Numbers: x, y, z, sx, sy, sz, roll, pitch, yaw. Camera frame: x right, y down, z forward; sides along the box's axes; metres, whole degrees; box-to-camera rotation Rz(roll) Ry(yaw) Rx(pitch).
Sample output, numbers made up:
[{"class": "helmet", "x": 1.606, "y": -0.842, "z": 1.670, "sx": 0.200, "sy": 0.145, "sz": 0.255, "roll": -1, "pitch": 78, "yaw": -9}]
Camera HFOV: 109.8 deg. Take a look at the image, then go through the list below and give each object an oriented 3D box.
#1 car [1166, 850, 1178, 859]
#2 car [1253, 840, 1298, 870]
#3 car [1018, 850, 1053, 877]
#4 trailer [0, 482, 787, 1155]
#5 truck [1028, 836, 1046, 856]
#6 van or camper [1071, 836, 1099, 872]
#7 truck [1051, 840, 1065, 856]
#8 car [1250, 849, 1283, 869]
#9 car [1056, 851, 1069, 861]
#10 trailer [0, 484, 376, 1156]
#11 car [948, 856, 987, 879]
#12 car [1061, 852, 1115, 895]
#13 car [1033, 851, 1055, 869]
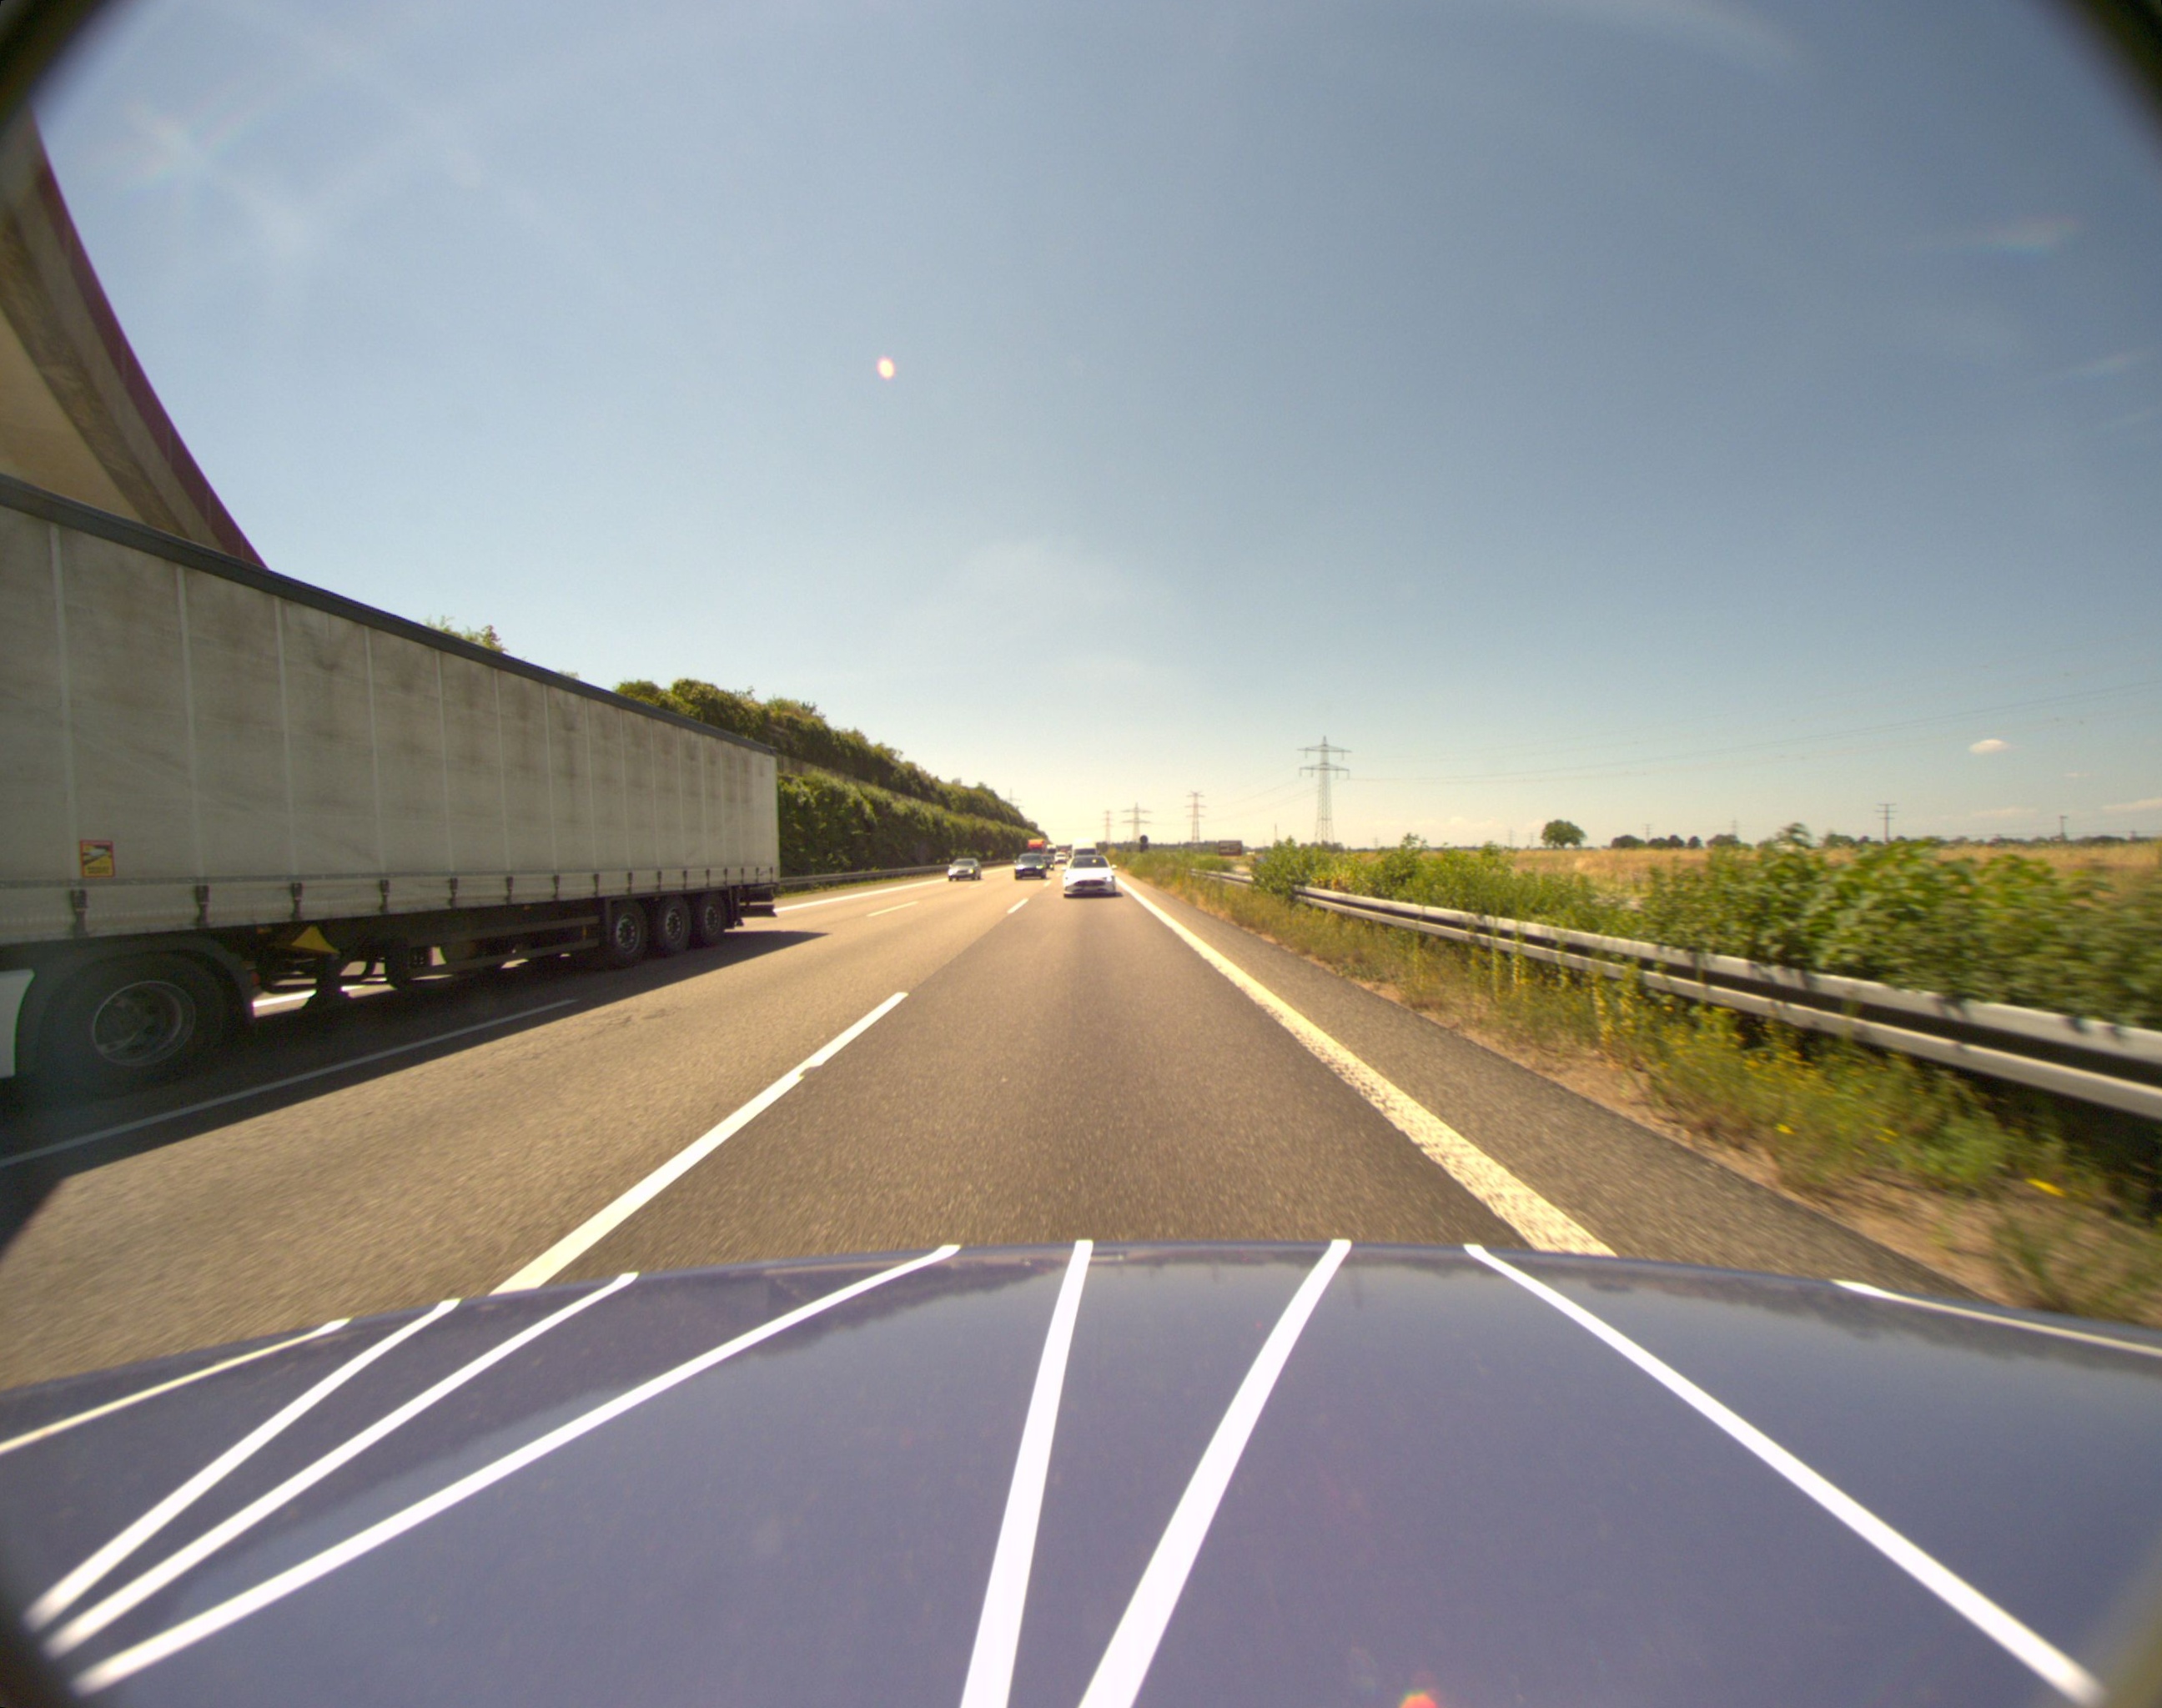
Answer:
[{"class": "car", "x": 18.706, "y": 0.107, "z": 156.396, "sx": 1.900, "sy": 1.967, "sz": 3.986, "roll": -1, "pitch": 0, "yaw": 0}, {"class": "car", "x": 14.053, "y": 0.056, "z": 55.287, "sx": 1.998, "sy": 2.002, "sz": 4.841, "roll": 2, "pitch": 1, "yaw": 0}, {"class": "car", "x": -2.929, "y": 0.588, "z": 49.417, "sx": 1.984, "sy": 1.671, "sz": 4.558, "roll": -1, "pitch": 0, "yaw": 0}, {"class": "trailer", "x": -7.909, "y": -0.238, "z": 10.192, "sx": 2.735, "sy": 4.079, "sz": 13.187, "roll": -1, "pitch": 0, "yaw": 0}, {"class": "truck", "x": -7.207, "y": -1.351, "z": 126.427, "sx": 2.581, "sy": 3.204, "sz": 5.712, "roll": -2, "pitch": 1, "yaw": 0}, {"class": "van or camper", "x": 0.405, "y": -0.002, "z": 60.750, "sx": 1.998, "sy": 2.740, "sz": 5.410, "roll": -2, "pitch": 0, "yaw": 2}, {"class": "truck", "x": -5.736, "y": -1.471, "z": 192.472, "sx": 3.507, "sy": 3.891, "sz": 9.646, "roll": 0, "pitch": 1, "yaw": -1}, {"class": "car", "x": 17.629, "y": 0.440, "z": 72.470, "sx": 1.923, "sy": 1.769, "sz": 4.978, "roll": -1, "pitch": 1, "yaw": 1}, {"class": "car", "x": -2.857, "y": 0.292, "z": 117.744, "sx": 1.984, "sy": 1.525, "sz": 4.137, "roll": 0, "pitch": 0, "yaw": 0}, {"class": "trailer", "x": -7.915, "y": -0.185, "z": 3.589, "sx": 2.720, "sy": 4.079, "sz": 6.788, "roll": -1, "pitch": 1, "yaw": 0}, {"class": "car", "x": -7.434, "y": 0.860, "z": 50.261, "sx": 1.840, "sy": 1.403, "sz": 4.558, "roll": -2, "pitch": 0, "yaw": 0}, {"class": "car", "x": 0.269, "y": 0.733, "z": 31.061, "sx": 1.984, "sy": 1.525, "sz": 4.558, "roll": -2, "pitch": 0, "yaw": 0}, {"class": "car", "x": -3.632, "y": 0.535, "z": 74.950, "sx": 1.984, "sy": 1.671, "sz": 4.558, "roll": -1, "pitch": 0, "yaw": 0}]
